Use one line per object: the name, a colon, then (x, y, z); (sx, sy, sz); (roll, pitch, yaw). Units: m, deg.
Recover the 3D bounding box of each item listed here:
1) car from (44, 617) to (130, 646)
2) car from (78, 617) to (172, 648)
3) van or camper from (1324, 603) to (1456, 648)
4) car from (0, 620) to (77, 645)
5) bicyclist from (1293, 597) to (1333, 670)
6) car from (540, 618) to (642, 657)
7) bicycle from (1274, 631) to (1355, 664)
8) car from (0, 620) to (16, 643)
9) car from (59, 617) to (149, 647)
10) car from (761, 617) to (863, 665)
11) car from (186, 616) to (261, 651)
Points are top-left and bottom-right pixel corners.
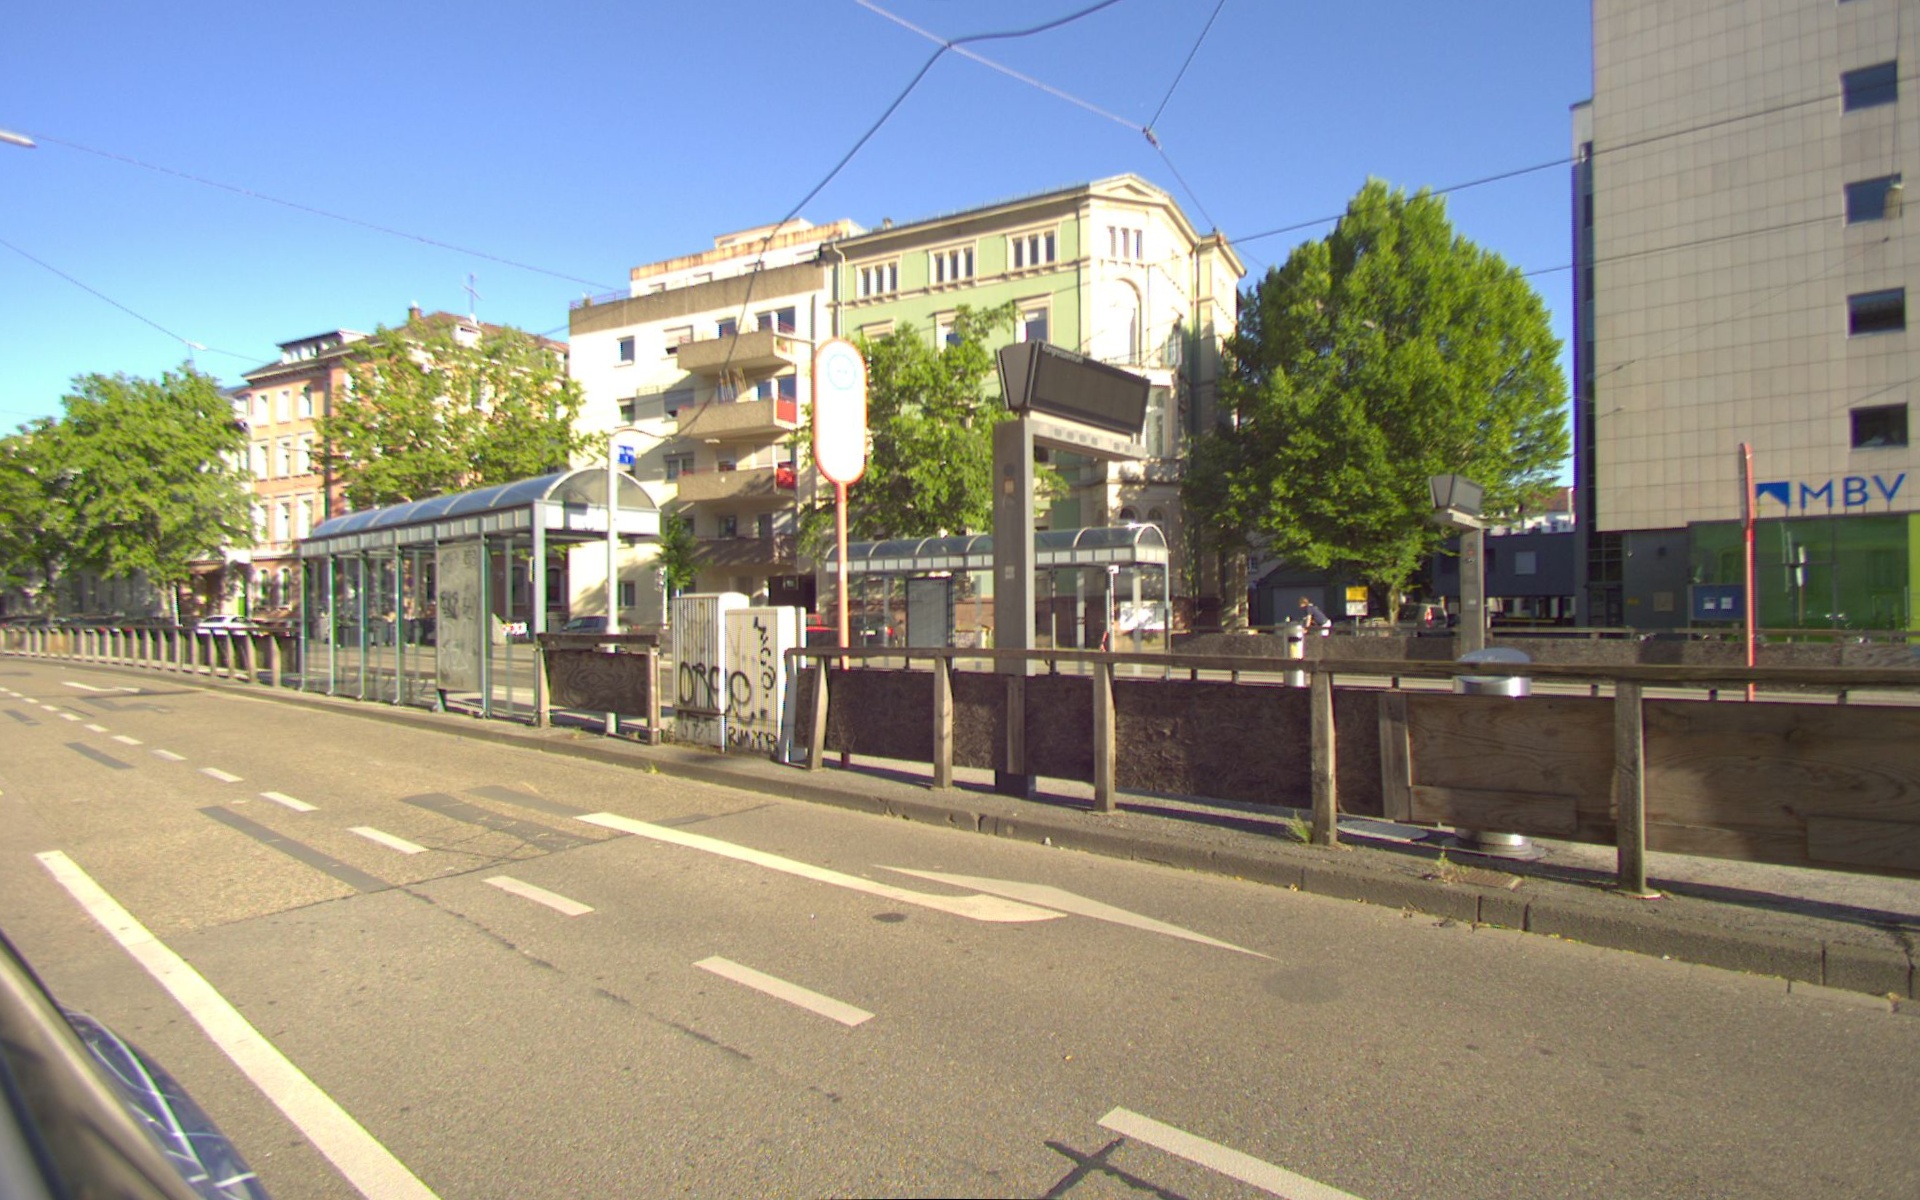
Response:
car: (-54.299, 1.943, 62.981); (2.001, 1.697, 3.942); (-2, -2, 44)
car: (-47.975, 1.833, 58.179); (2.001, 1.697, 3.942); (-2, -2, 44)
van or camper: (15.505, 0.889, 36.563); (3.998, 1.417, 1.943); (2, 0, 41)
car: (-59.608, 2.069, 65.293); (3.811, 1.604, 2.001); (1, -2, -45)
bicyclist: (8.729, 0.813, 25.045); (0.770, 1.774, 0.529); (-1, -2, 41)
car: (-14.003, 1.420, 38.413); (3.498, 1.406, 1.602); (-1, -2, 22)
bicycle: (8.784, 1.168, 25.126); (1.852, 0.793, 0.529); (-1, -2, 41)
car: (-68.097, 2.202, 70.138); (2.001, 1.604, 3.812); (-2, -2, 44)
car: (-51.292, 1.897, 60.652); (2.001, 1.697, 3.942); (-2, -2, 44)
car: (-5.002, 1.371, 34.708); (1.763, 1.547, 3.763); (-1, -2, 23)
car: (-39.520, 1.760, 54.396); (1.966, 1.736, 4.012); (0, 1, -15)
